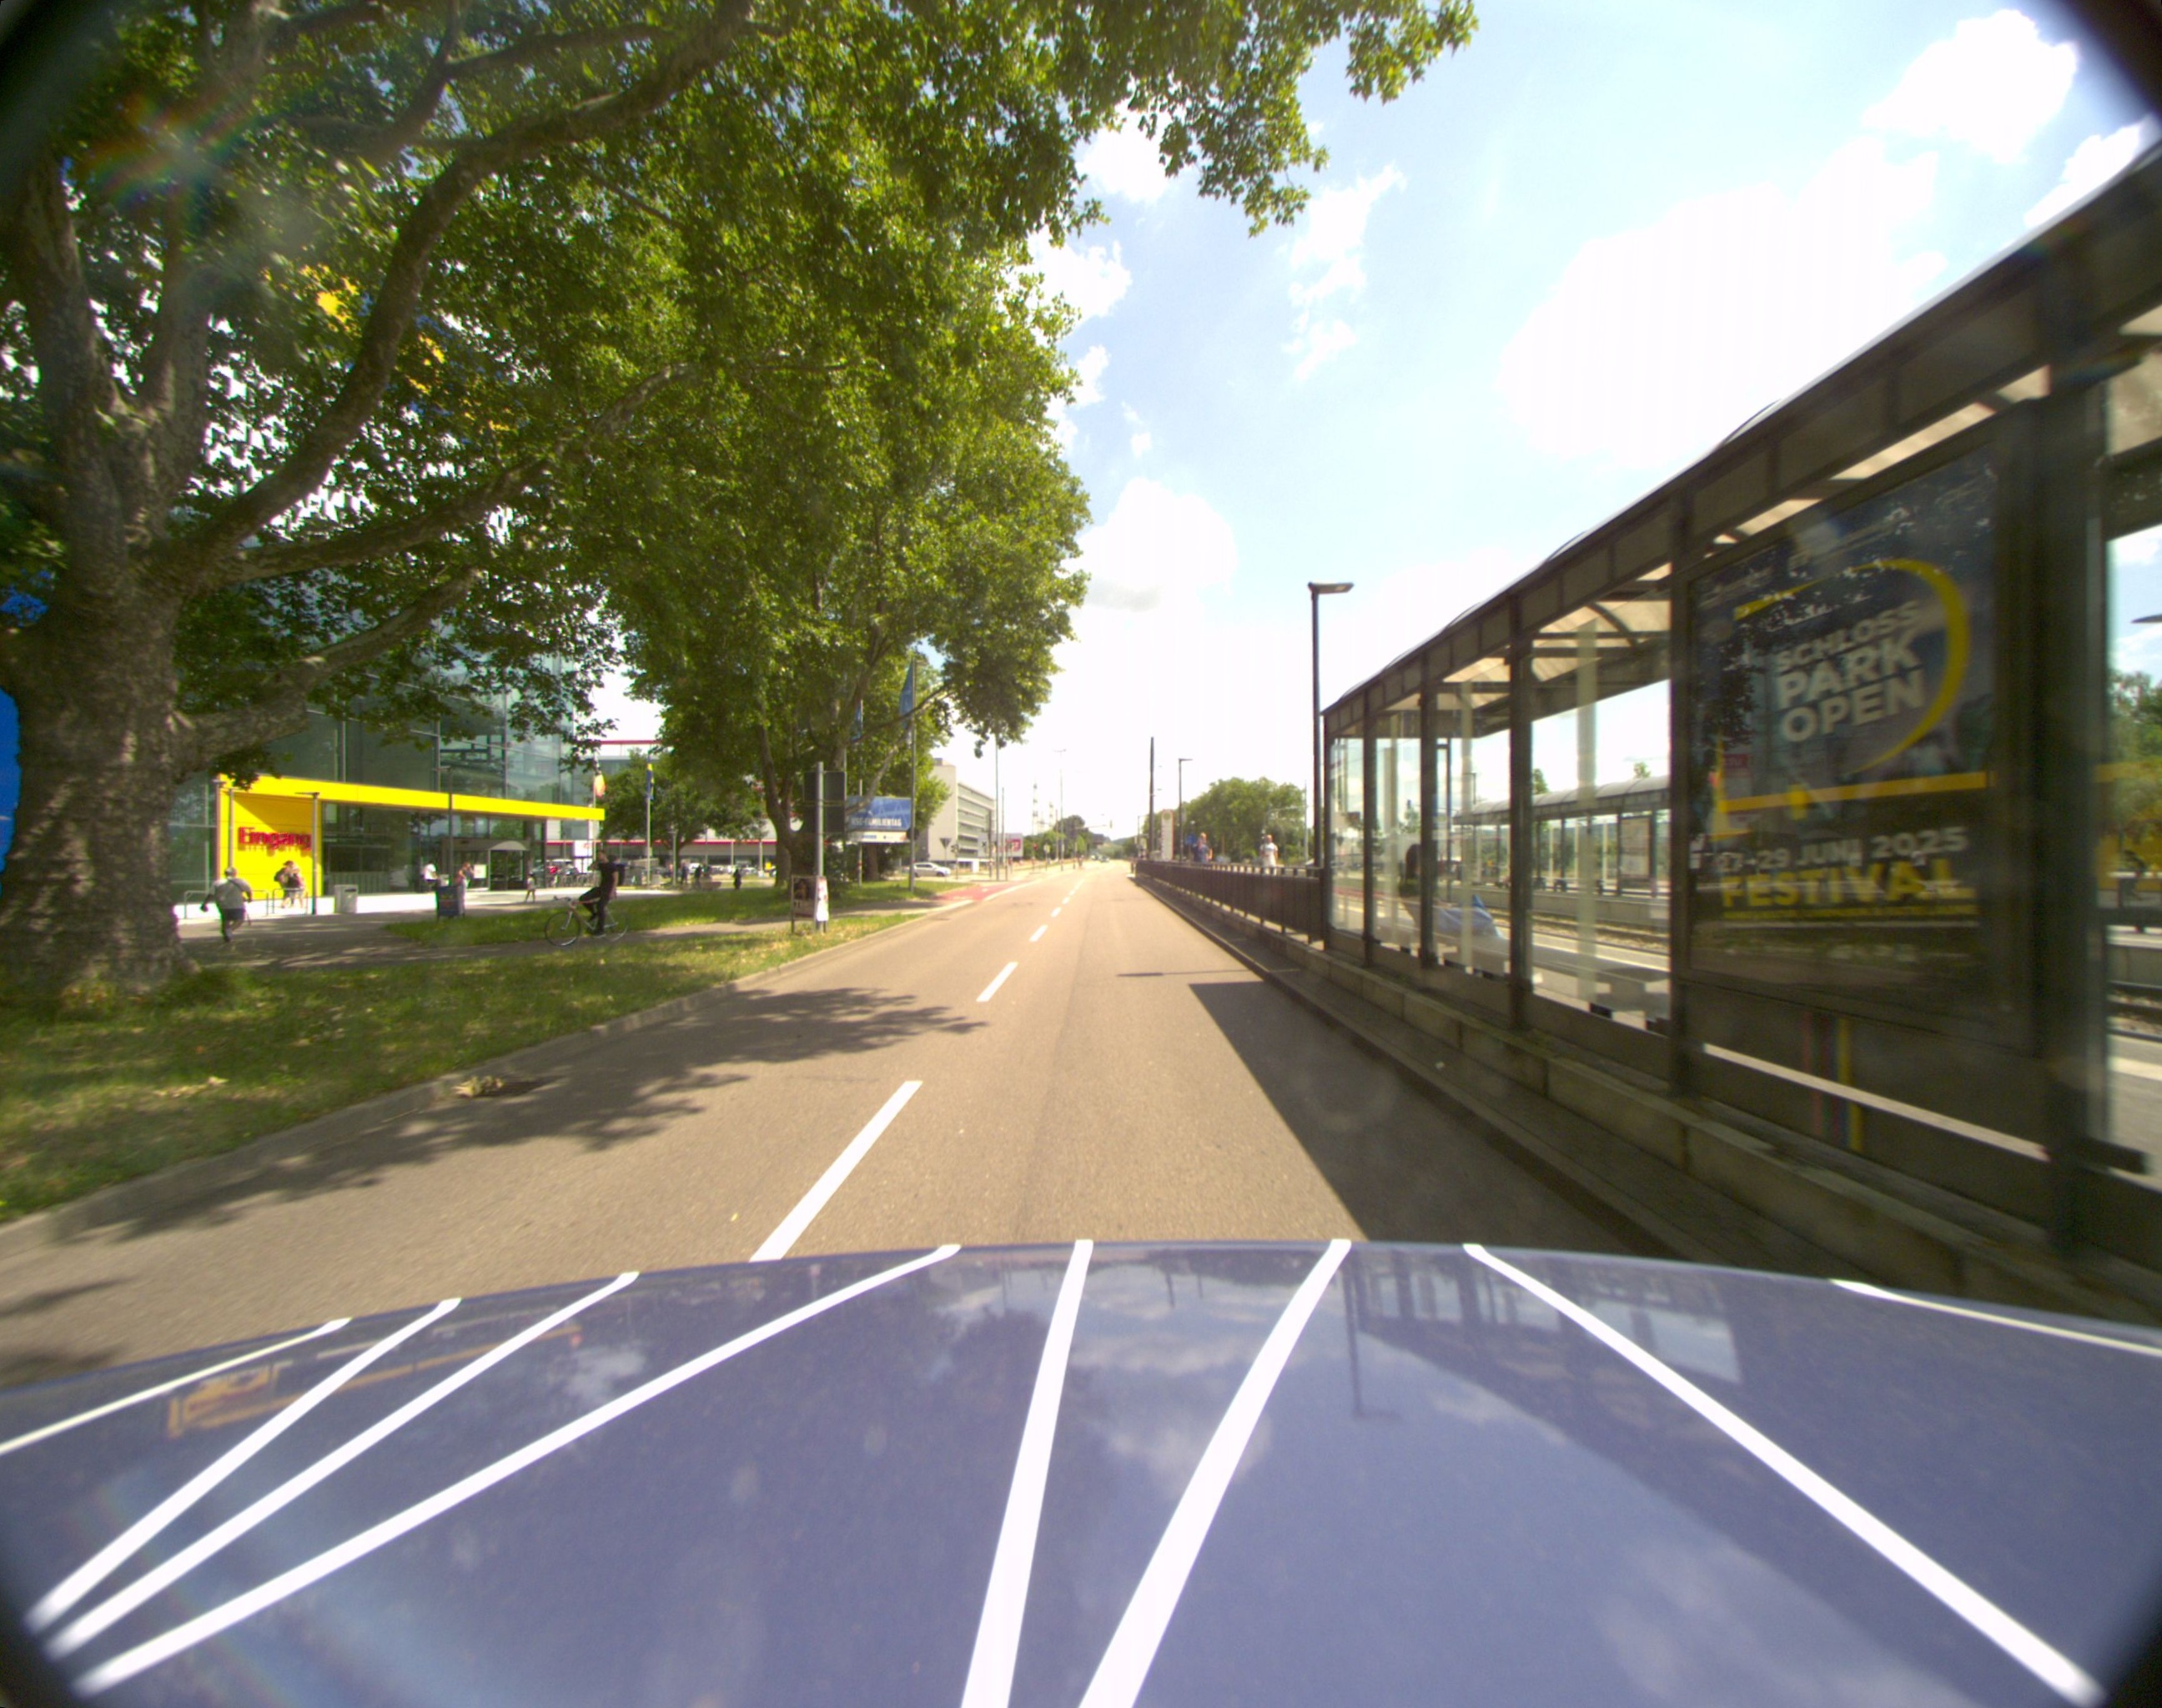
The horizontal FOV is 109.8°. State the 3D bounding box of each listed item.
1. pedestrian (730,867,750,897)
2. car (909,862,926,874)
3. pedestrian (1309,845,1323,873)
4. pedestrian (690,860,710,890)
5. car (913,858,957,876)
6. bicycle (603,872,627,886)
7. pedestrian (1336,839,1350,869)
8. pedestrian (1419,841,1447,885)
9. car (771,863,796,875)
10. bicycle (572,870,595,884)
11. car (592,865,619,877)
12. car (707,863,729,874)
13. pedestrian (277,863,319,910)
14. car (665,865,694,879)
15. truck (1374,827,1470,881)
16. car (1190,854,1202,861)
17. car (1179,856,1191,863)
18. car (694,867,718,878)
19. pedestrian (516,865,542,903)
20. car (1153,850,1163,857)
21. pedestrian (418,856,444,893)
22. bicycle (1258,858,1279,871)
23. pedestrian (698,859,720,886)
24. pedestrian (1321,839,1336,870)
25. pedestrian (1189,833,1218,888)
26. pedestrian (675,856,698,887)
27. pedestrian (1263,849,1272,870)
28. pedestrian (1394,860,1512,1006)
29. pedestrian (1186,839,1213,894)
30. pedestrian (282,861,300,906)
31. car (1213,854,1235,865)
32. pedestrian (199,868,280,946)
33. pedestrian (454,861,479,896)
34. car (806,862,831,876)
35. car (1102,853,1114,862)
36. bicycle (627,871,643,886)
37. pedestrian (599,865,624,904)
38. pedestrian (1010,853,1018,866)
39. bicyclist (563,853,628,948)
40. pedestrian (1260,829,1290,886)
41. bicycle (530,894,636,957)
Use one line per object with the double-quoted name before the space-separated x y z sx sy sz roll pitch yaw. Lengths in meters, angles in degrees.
"pedestrian" -19.596 1.615 43.672 0.719 1.653 0.593 2 -1 7
"car" -29.718 2.549 138.200 1.998 1.977 4.364 -1 -1 3
"pedestrian" 14.858 0.309 48.026 0.729 1.711 0.525 -1 -1 7
"pedestrian" -24.392 1.318 48.647 0.889 1.874 0.971 1 -1 -42
"car" -14.039 1.259 73.344 3.830 1.461 1.900 -2 1 0
"bicycle" -33.777 1.815 55.089 0.423 0.988 1.869 -1 -1 5
"pedestrian" 15.127 0.022 43.857 0.600 1.711 0.708 -1 -1 6
"pedestrian" 14.725 0.376 31.827 0.735 1.796 0.930 -1 0 3
"car" -48.176 2.444 123.141 1.998 1.977 4.364 -1 -1 3
"bicycle" -36.124 1.654 55.215 0.464 0.989 1.868 -1 -1 0
"car" -84.913 3.049 135.694 1.998 1.977 4.364 -1 -1 3
"car" -64.379 2.564 134.853 1.775 2.001 4.001 -1 -1 3
"pedestrian" -28.773 1.190 27.937 0.889 1.654 0.783 -2 1 -34
"car" -63.191 2.804 119.561 1.998 1.977 4.363 -1 0 3
"truck" 28.497 0.001 64.313 2.949 4.080 11.999 -1 0 2
"car" 23.996 0.722 158.915 1.669 1.400 3.891 -1 0 -4
"car" 25.066 1.364 183.311 1.813 1.648 4.321 4 -1 -4
"car" -66.682 3.249 135.103 1.998 1.977 4.364 1 -1 3
"pedestrian" -24.628 1.348 33.910 0.591 1.606 0.666 -6 -2 -1
"car" 23.049 -0.099 226.937 1.996 1.797 5.142 -1 -1 19
"pedestrian" -33.393 1.069 39.064 0.617 1.874 0.783 -1 0 12
"bicycle" 16.490 0.926 66.944 1.720 1.081 0.621 -1 0 5
"pedestrian" -26.217 1.303 53.566 0.972 1.891 1.012 0 0 18
"pedestrian" 14.354 0.023 44.093 0.636 1.738 0.678 -3 0 6
"pedestrian" 4.406 0.255 27.412 0.875 1.927 0.995 -1 -1 2
"pedestrian" -26.832 1.179 51.649 0.972 2.060 1.012 0 0 18
"pedestrian" 16.446 0.484 66.942 0.671 1.758 0.613 -1 0 5
"pedestrian" 3.214 0.658 6.621 0.695 1.183 0.642 -2 0 2
"pedestrian" 3.839 0.405 24.678 0.735 1.745 0.930 -1 0 3
"pedestrian" -29.802 1.113 28.675 0.543 1.691 0.422 -2 -1 40
"car" 24.364 0.985 129.787 1.886 1.763 4.661 -1 -1 -14
"pedestrian" -18.898 1.169 17.082 0.777 1.685 0.891 -1 0 2
"pedestrian" -29.864 1.193 36.921 0.805 1.653 0.702 1 0 -26
"car" -40.774 2.346 118.041 1.998 1.977 4.598 0 0 3
"car" 6.086 0.821 169.429 1.997 2.001 4.004 -1 -1 10
"bicycle" -32.540 1.787 55.470 0.504 1.101 1.924 1 -2 -14
"pedestrian" -21.101 1.363 34.180 0.665 1.761 0.669 -1 0 5
"pedestrian" -9.867 0.853 111.443 0.868 1.827 0.796 -1 2 -25
"bicyclist" -9.751 0.913 15.296 0.610 1.835 0.924 -3 0 3
"pedestrian" 6.245 0.119 24.507 0.735 1.796 0.930 -1 0 3
"bicycle" -9.755 1.365 14.981 0.621 0.993 2.024 -2 1 3
